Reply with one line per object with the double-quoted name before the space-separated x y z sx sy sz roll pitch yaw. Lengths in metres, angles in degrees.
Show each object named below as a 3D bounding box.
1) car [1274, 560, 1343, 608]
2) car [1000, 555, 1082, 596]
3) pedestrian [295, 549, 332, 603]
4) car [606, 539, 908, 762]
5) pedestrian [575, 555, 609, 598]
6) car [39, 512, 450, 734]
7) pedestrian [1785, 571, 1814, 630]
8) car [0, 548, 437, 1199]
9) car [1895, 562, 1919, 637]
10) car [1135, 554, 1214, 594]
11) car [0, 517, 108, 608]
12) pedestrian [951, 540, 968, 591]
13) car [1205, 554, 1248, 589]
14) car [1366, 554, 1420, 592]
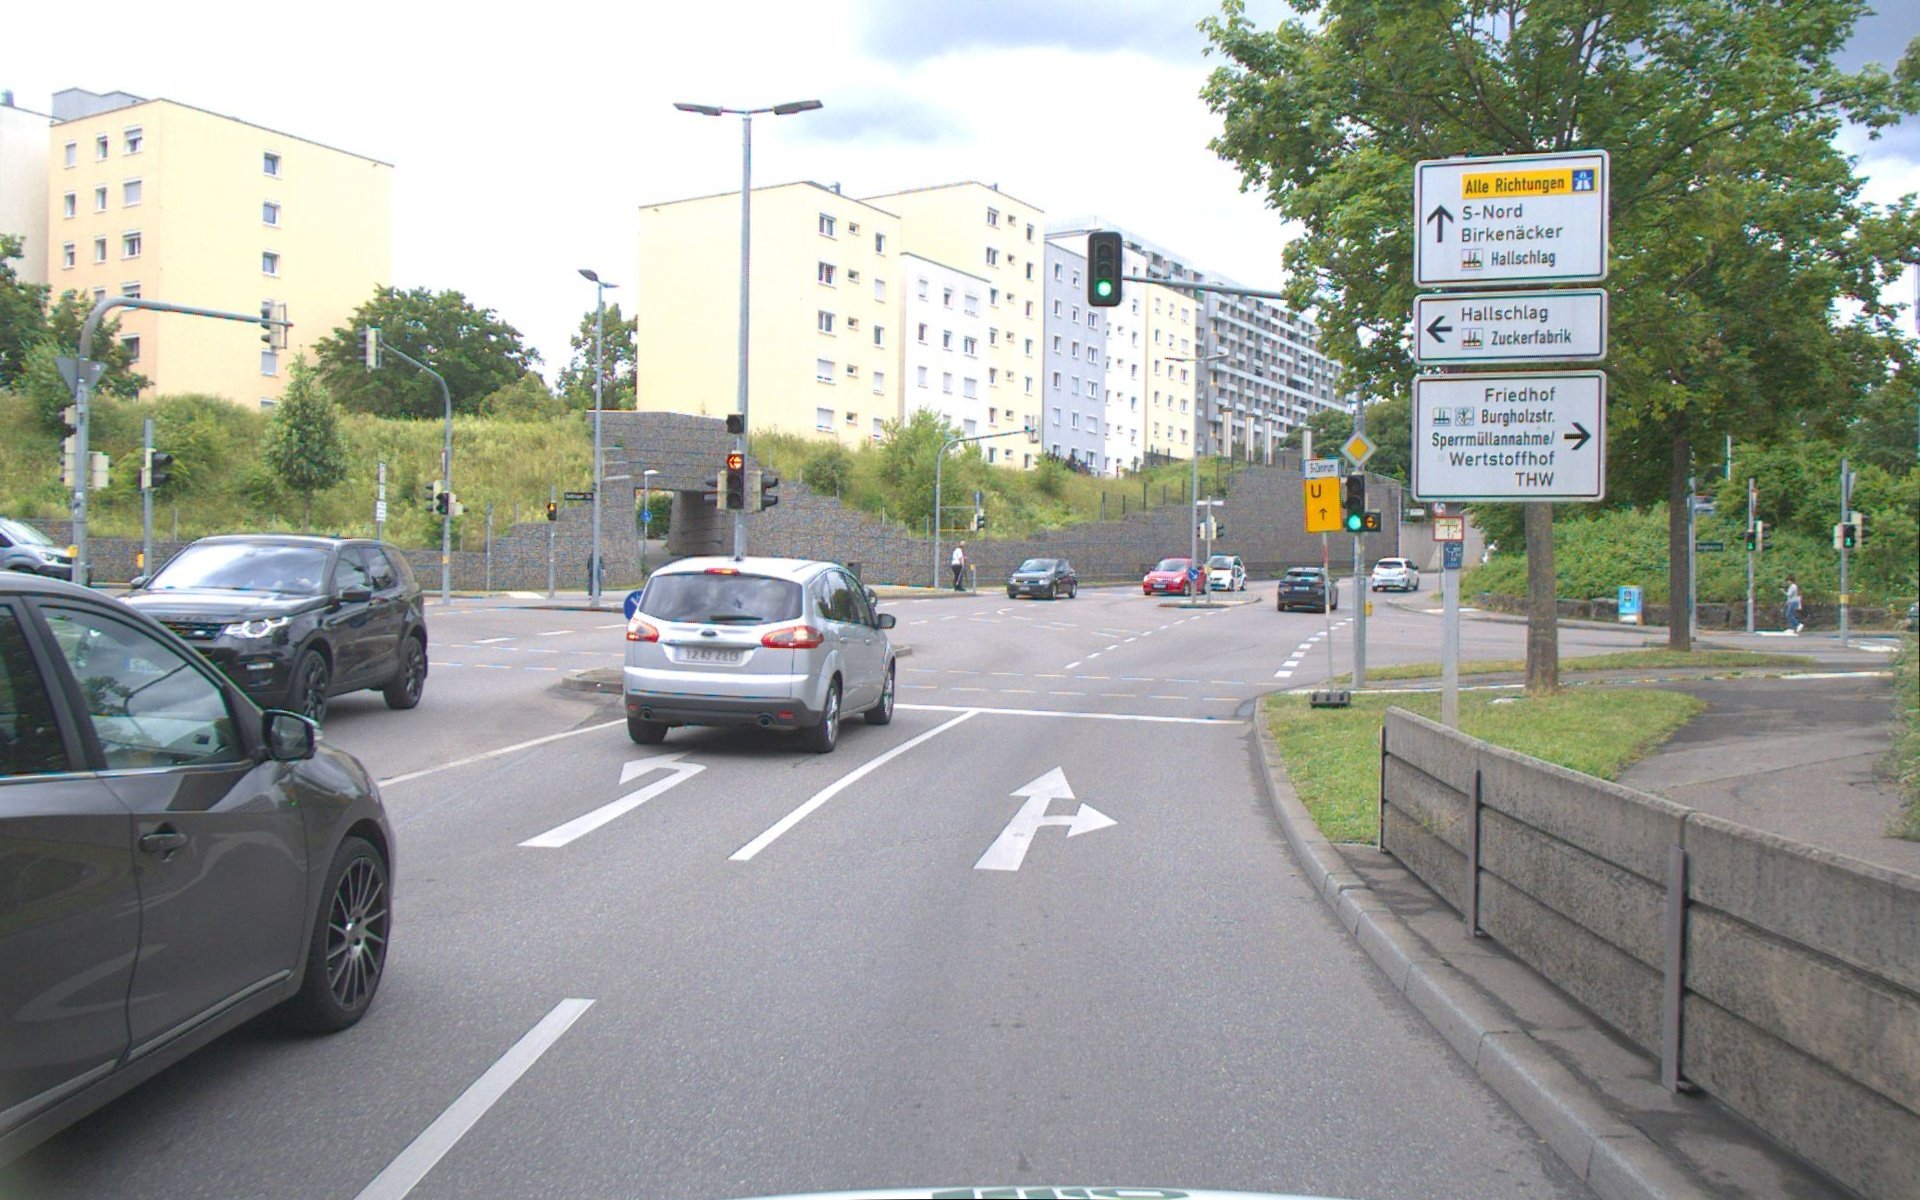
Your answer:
"car" 11.839 -0.531 55.977 1.860 1.492 4.002 3 1 18
"car" 2.974 -0.872 59.868 1.817 1.384 4.001 2 1 20
"pedestrian" -20.126 -0.746 51.474 0.936 1.641 0.697 1 1 -13
"car" -1.723 0.395 15.348 1.791 1.735 3.872 2 1 8
"pedestrian" -11.242 -0.720 50.553 0.894 1.245 0.727 4 1 -12
"car" -6.321 0.162 15.213 1.953 1.727 4.167 1 1 0
"pedestrian" 24.233 0.018 47.727 0.613 1.682 0.494 2 1 15
"car" -2.790 0.637 4.010 1.807 1.519 3.999 1 0 -1
"car" 27.307 0.065 43.366 4.406 1.943 2.002 2 1 10
"car" 8.709 -1.051 66.928 1.807 1.479 3.994 5 3 28
"car" -21.842 -0.864 37.557 3.910 1.982 1.998 1 0 -6
"pedestrian" -0.016 -1.284 62.307 0.592 1.895 0.597 2 1 0
"car" 11.760 -1.248 72.908 1.137 1.389 2.502 5 1 26
"car" 19.783 -1.222 75.519 1.952 1.646 4.001 1 1 21
